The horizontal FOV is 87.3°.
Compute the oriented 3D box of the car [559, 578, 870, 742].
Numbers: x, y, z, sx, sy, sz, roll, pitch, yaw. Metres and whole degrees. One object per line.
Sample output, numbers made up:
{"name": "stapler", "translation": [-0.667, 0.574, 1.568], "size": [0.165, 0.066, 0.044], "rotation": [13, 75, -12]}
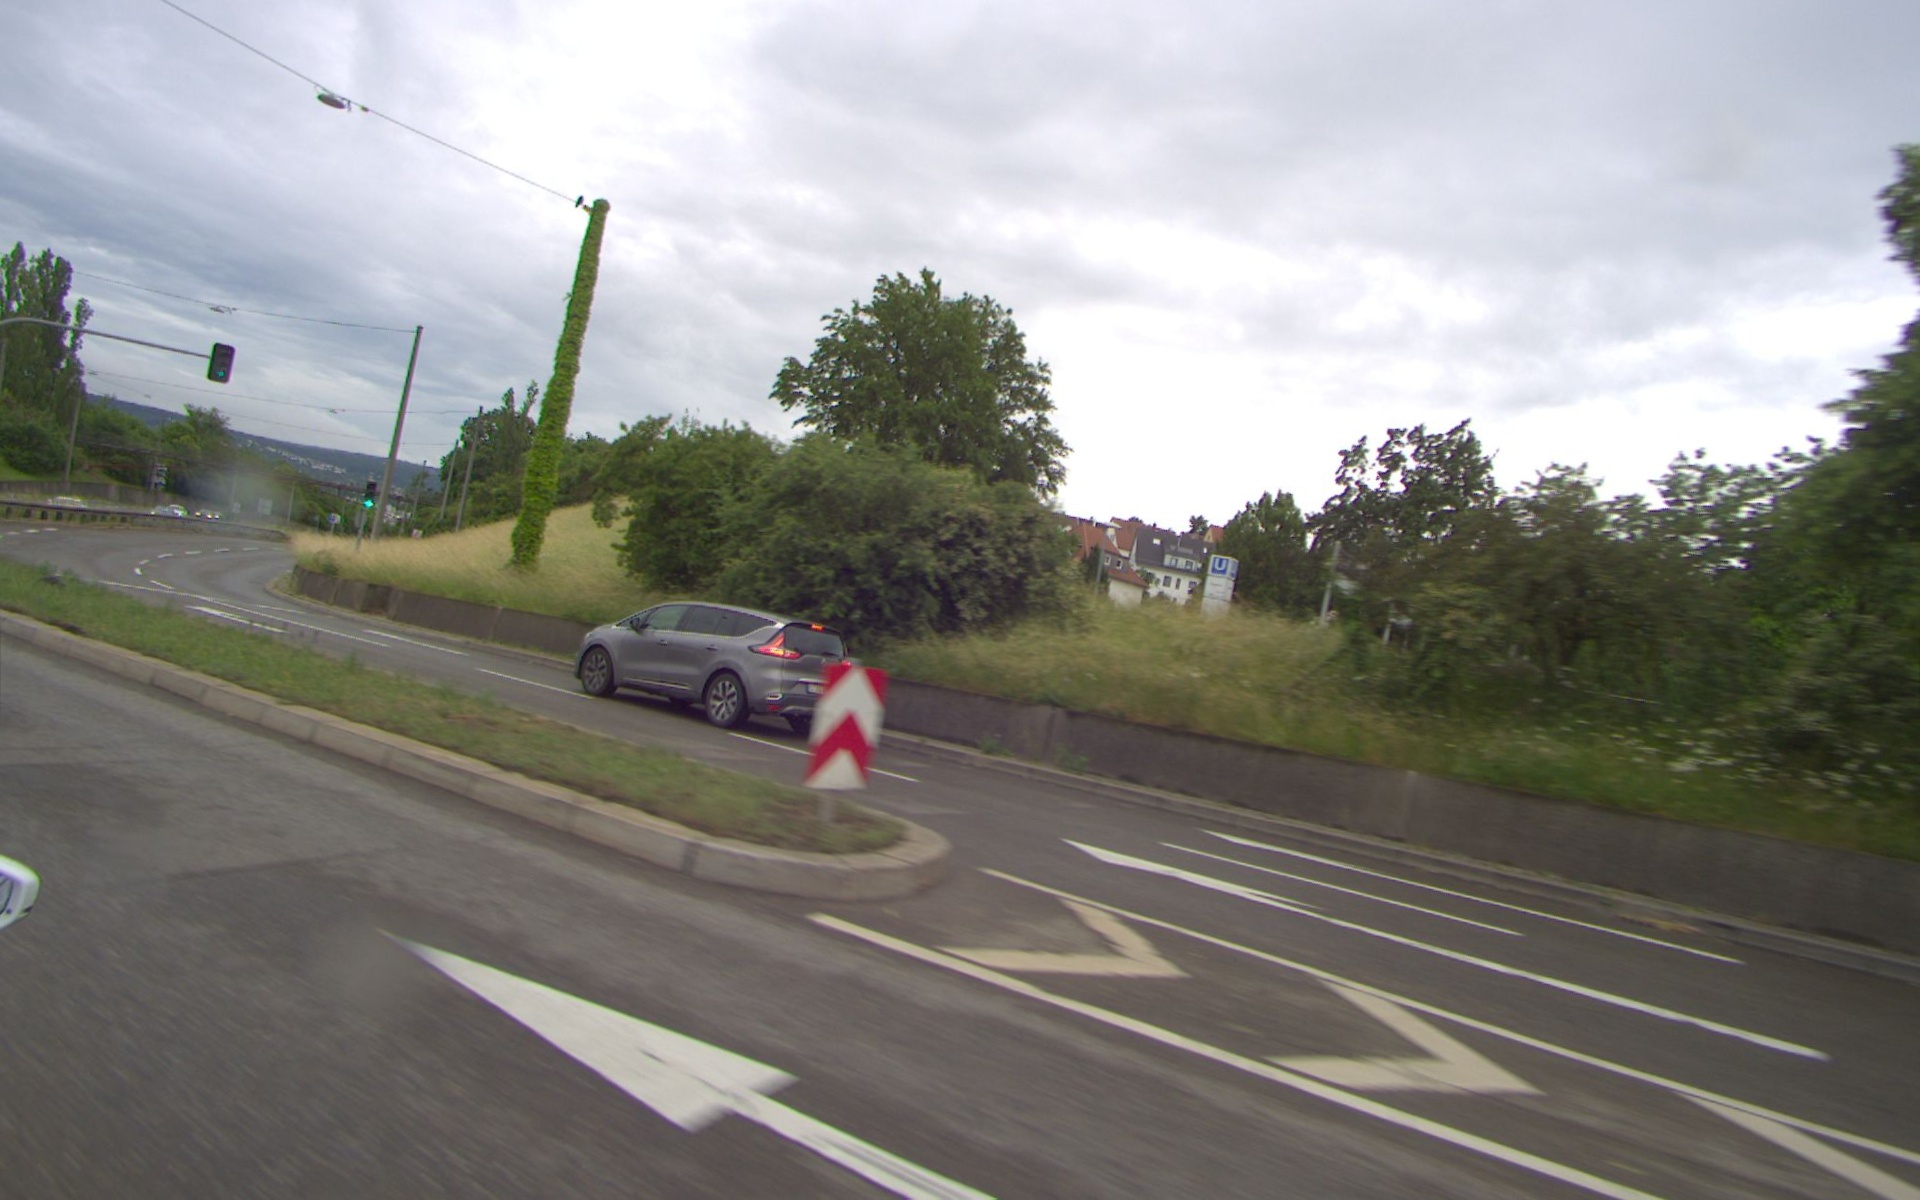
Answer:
{"name": "car", "translation": [-3.726, 0.831, 14.910], "size": [4.553, 1.666, 1.729], "rotation": [7, -4, 36]}

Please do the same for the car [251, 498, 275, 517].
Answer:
{"name": "car", "translation": [-95.358, -12.669, 137.685], "size": [2.062, 2.107, 4.334], "rotation": [11, -1, -31]}
